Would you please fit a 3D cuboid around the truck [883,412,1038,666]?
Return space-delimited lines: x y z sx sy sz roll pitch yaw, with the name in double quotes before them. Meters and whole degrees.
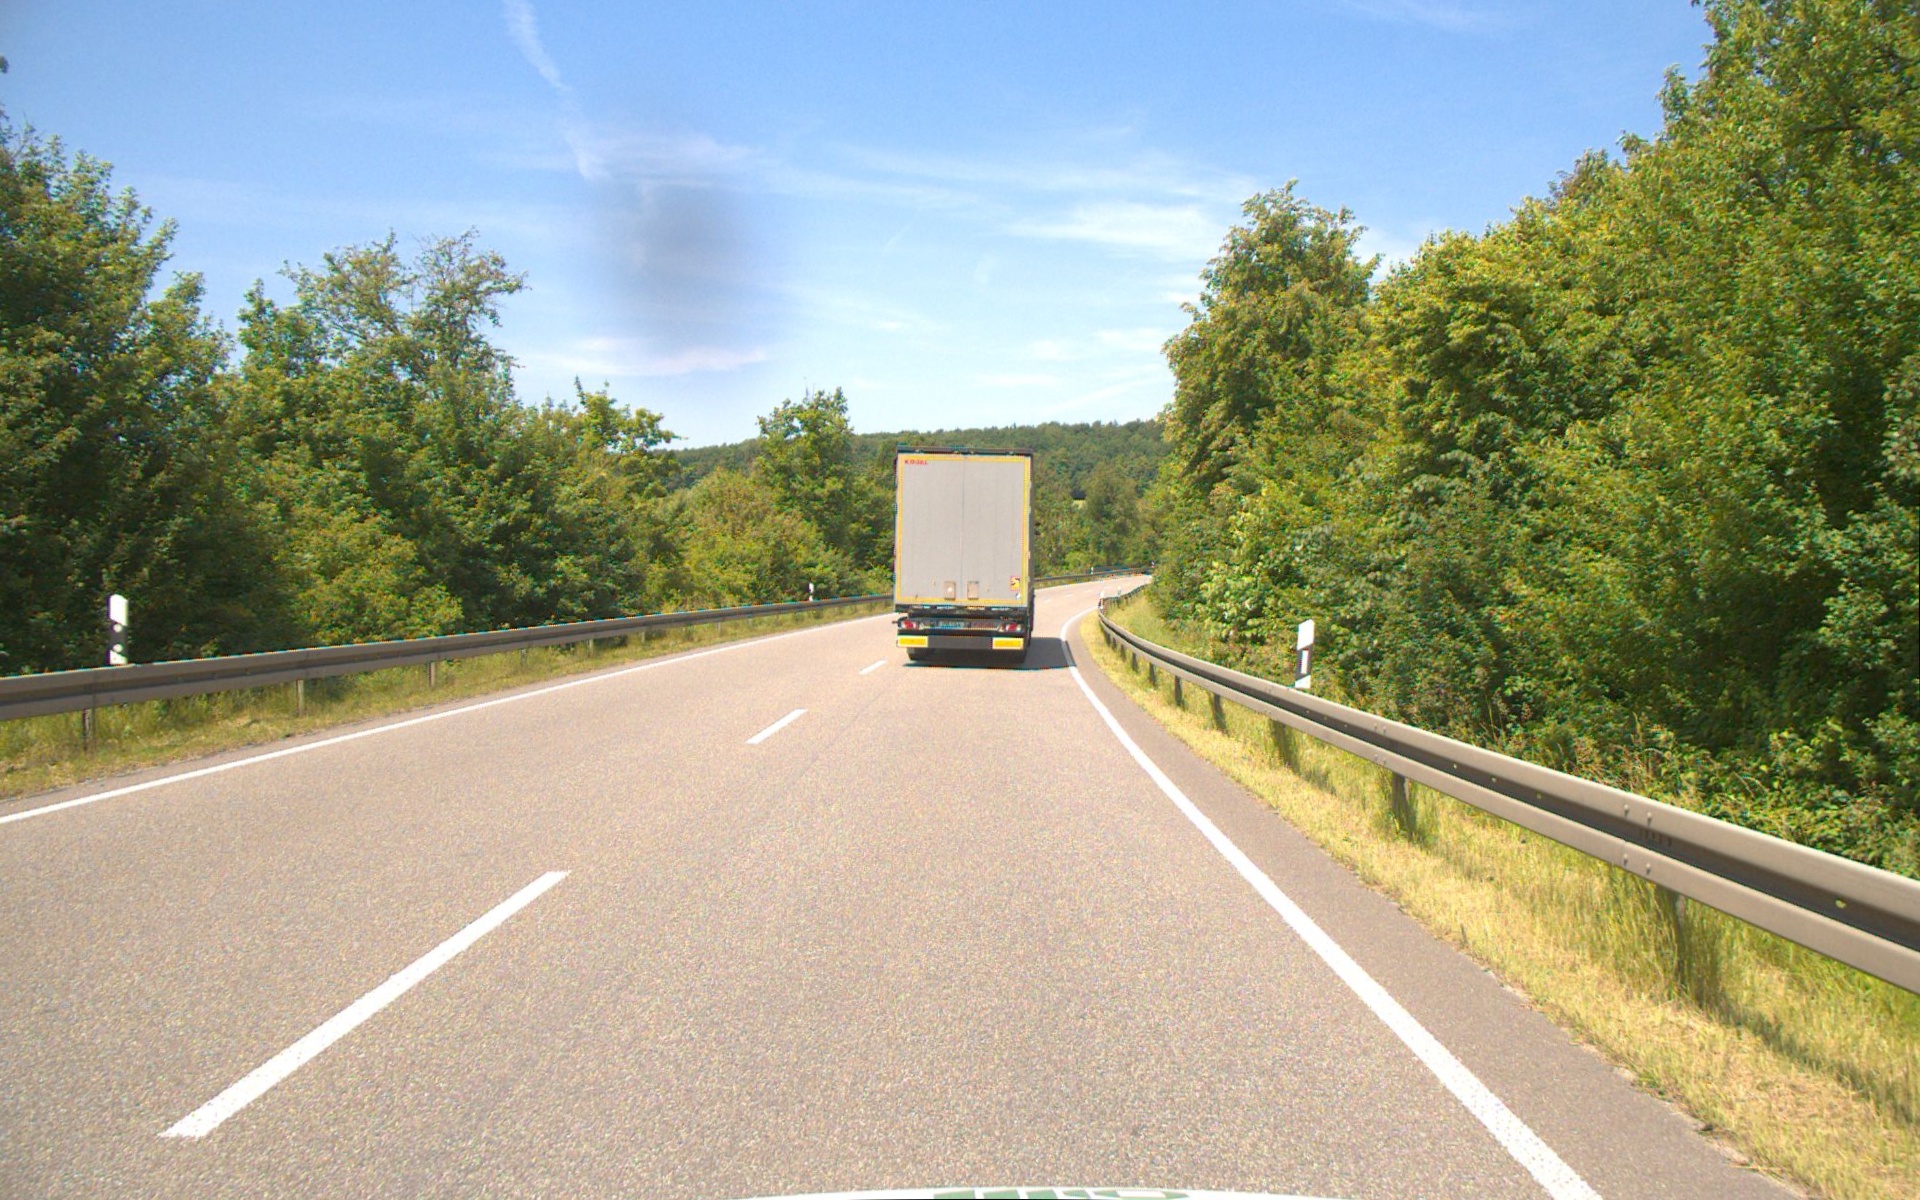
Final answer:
"truck" 0.291 -1.169 36.105 2.758 4.611 11.772 0 0 3
